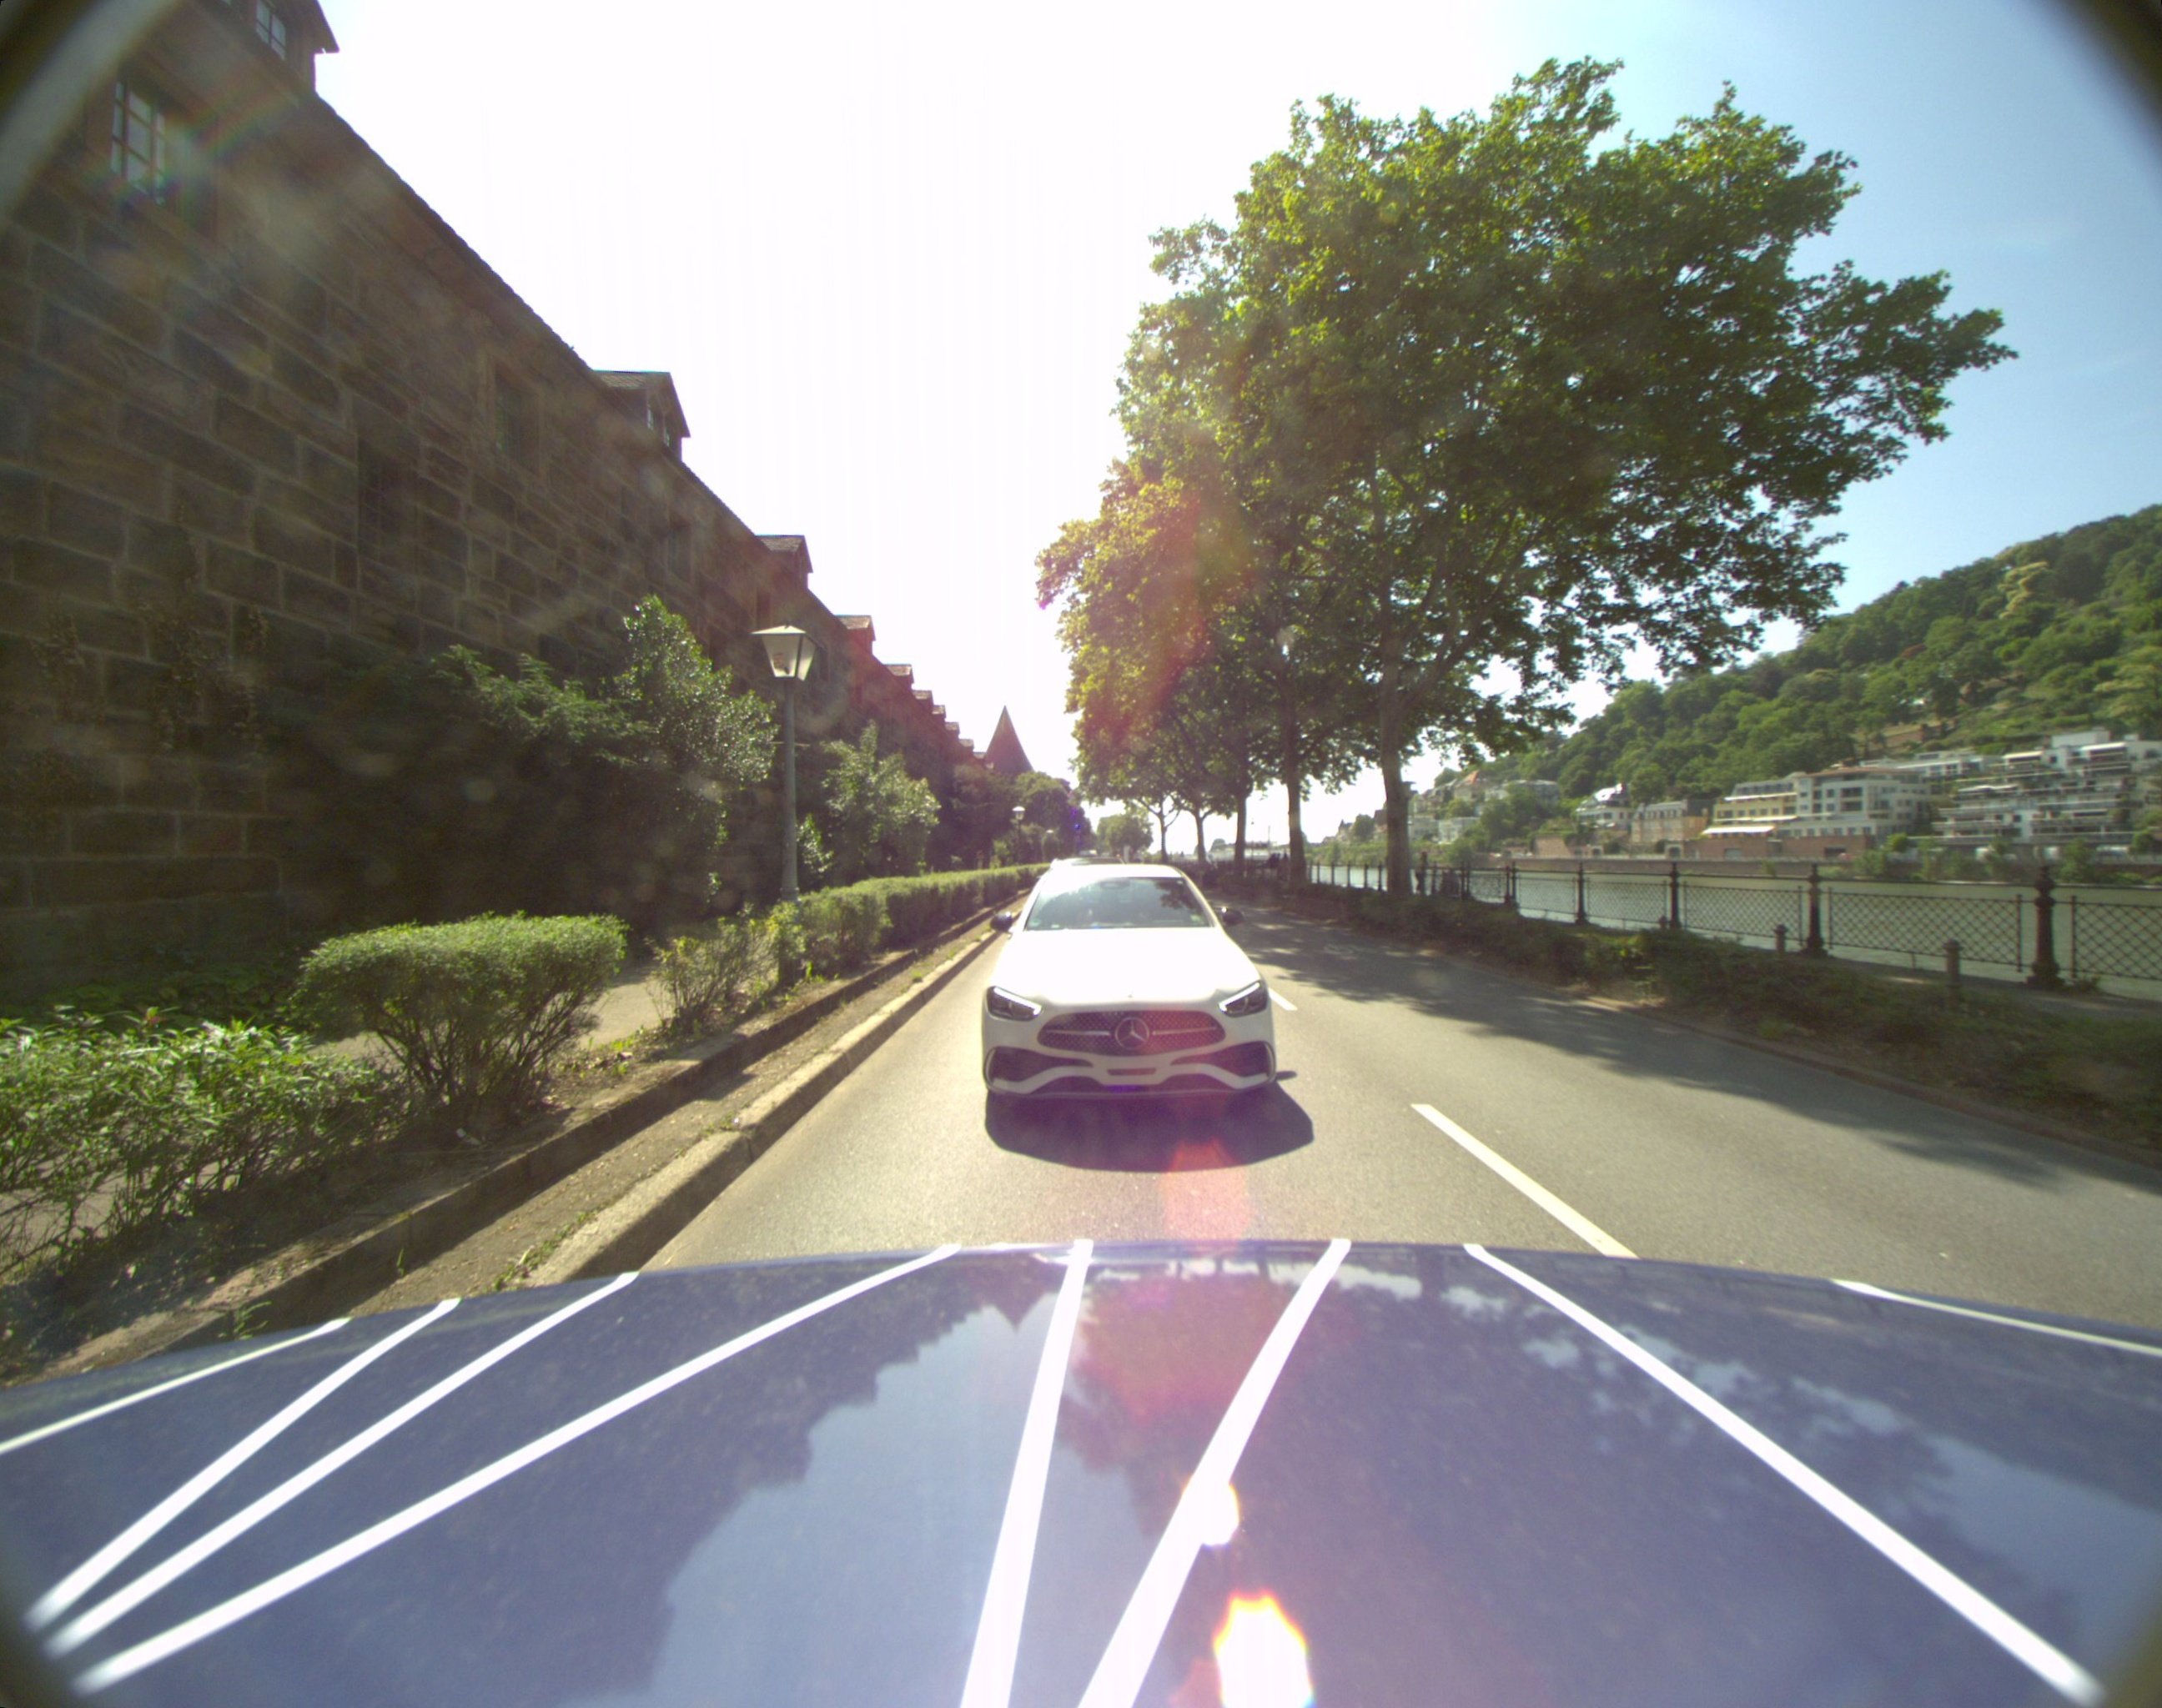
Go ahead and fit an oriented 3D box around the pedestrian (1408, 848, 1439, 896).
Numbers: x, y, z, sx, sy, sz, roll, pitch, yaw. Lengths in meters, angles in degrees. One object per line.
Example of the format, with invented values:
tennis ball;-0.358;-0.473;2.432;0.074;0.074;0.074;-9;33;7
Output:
pedestrian;12.894;0.674;28.615;0.777;1.748;0.830;1;1;0

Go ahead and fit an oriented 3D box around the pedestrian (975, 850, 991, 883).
pedestrian;-4.761;0.585;36.908;0.643;1.555;0.563;-2;1;1

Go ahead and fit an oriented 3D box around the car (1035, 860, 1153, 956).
car;0.234;0.876;14.201;1.833;1.428;4.270;-2;0;1

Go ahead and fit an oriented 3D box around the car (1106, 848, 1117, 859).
car;5.925;-0.019;147.750;2.165;2.002;4.000;-2;1;1

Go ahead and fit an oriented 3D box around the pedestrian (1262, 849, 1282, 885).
pedestrian;10.155;0.672;40.435;0.806;1.839;0.929;-2;1;1

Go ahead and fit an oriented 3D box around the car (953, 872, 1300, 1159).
car;0.275;0.928;6.248;1.833;1.395;4.270;-2;0;1

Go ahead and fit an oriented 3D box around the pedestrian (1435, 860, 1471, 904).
pedestrian;12.066;0.897;24.687;0.768;1.379;0.770;1;0;0

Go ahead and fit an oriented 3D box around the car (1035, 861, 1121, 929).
car;-0.036;0.924;18.846;1.833;1.395;4.424;-2;0;1

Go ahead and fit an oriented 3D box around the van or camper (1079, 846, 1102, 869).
van or camper;1.020;0.395;82.666;2.313;2.358;5.035;1;0;0

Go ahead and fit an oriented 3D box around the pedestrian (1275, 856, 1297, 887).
pedestrian;10.916;0.928;40.510;0.897;1.625;1.059;-2;1;6

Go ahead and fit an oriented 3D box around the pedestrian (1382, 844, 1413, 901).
pedestrian;10.601;0.617;25.491;0.767;1.889;0.771;1;1;8

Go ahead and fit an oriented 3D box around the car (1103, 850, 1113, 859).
car;6.238;0.118;175.975;2.165;2.002;4.000;-2;1;1

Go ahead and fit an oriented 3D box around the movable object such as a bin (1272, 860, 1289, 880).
movable object such as a bin;10.864;0.855;41.415;0.703;1.043;0.783;-2;1;4

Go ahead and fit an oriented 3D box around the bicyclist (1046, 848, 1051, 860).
bicyclist;-4.053;-0.016;94.532;0.550;1.513;0.583;-2;1;-1

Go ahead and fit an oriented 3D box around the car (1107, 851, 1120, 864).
car;5.465;0.602;128.856;2.165;2.002;4.000;-2;1;1

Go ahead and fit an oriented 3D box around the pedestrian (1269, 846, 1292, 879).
pedestrian;12.339;0.527;47.060;1.047;2.002;1.036;-1;1;31

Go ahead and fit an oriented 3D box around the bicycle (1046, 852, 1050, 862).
bicycle;-4.068;0.380;94.400;0.406;1.169;1.576;-2;1;-2
